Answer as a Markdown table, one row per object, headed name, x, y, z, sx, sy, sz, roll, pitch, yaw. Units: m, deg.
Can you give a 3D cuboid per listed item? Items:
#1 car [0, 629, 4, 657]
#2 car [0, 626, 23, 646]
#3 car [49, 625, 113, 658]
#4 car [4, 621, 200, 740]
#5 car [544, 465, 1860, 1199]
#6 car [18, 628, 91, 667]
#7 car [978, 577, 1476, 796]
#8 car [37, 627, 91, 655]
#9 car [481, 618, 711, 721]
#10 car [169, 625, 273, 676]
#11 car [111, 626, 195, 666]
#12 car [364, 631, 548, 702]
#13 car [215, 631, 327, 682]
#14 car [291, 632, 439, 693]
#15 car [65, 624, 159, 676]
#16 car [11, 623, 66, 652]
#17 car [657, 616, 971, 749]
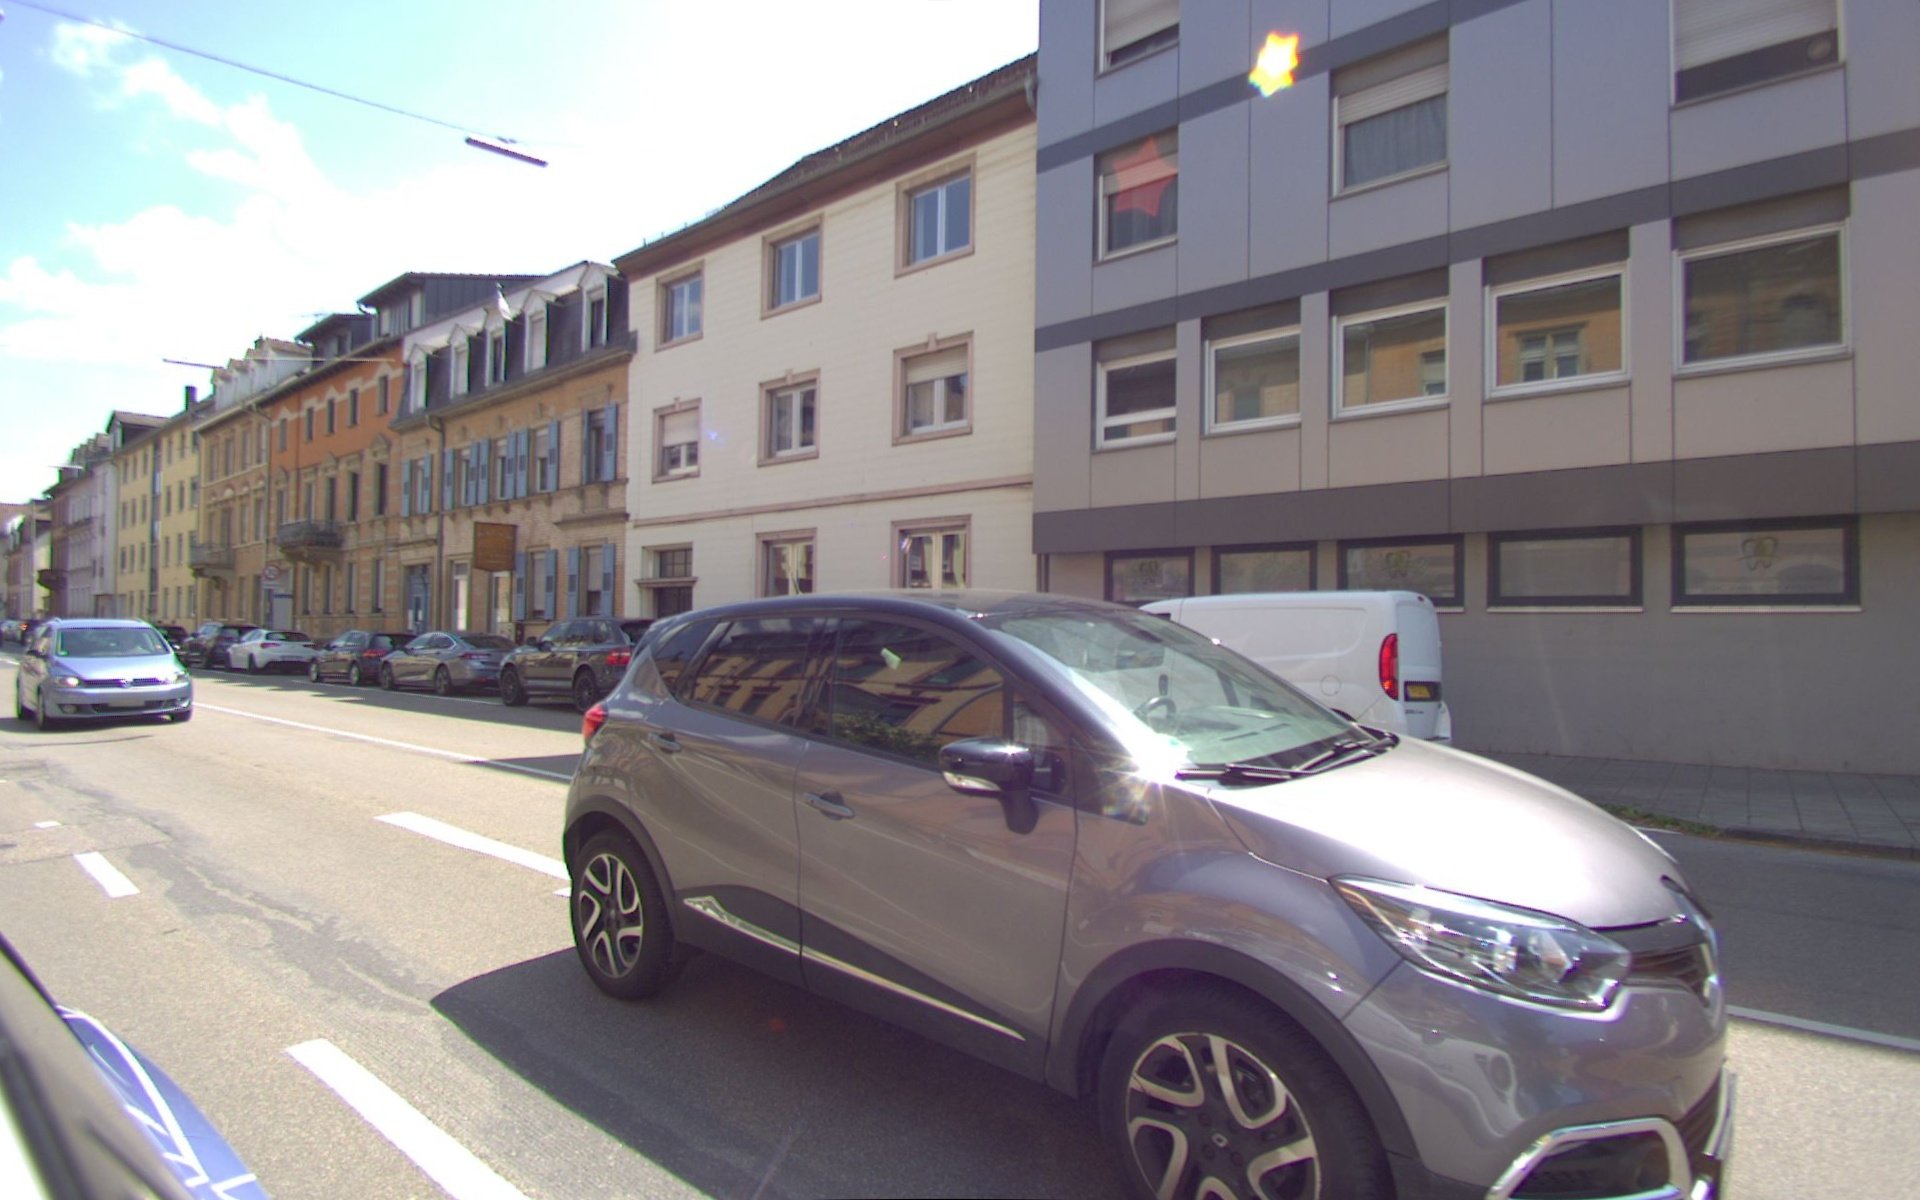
| name | x | y | z | sx | sy | sz | roll | pitch | yaw |
| --- | --- | --- | --- | --- | --- | --- | --- | --- | --- |
| car | -54.494 | 2.357 | 56.036 | 4.242 | 1.506 | 1.742 | -1 | -3 | 40 |
| car | -73.099 | 2.681 | 77.154 | 4.099 | 1.421 | 1.728 | -1 | -6 | 38 |
| car | -46.756 | 2.190 | 53.808 | 4.311 | 1.563 | 1.845 | -1 | -6 | 41 |
| car | -13.186 | 1.124 | 15.480 | 3.998 | 1.580 | 1.736 | -1 | -2 | 41 |
| car | 0.361 | 0.678 | 3.438 | 3.999 | 1.644 | 1.735 | -2 | -2 | 42 |
| car | -36.346 | 1.880 | 40.608 | 4.132 | 1.489 | 1.683 | -2 | -3 | 42 |
| car | 2.654 | 0.801 | 10.772 | 4.784 | 1.839 | 1.894 | -1 | -3 | 40 |
| car | -50.546 | 2.303 | 57.066 | 3.914 | 1.421 | 1.726 | -1 | -6 | 42 |
| car | -6.779 | 1.201 | 18.571 | 4.816 | 1.653 | 1.865 | -1 | -4 | 42 |
| car | -26.263 | 1.783 | 35.915 | 4.496 | 1.640 | 1.846 | -1 | -6 | 40 |
| car | -34.852 | 1.978 | 43.659 | 4.496 | 1.563 | 1.846 | -1 | -6 | 40 |
| car | -11.647 | 1.501 | 23.251 | 4.831 | 1.417 | 1.847 | -1 | -6 | 39 |
| car | -22.275 | 1.806 | 32.677 | 4.328 | 1.437 | 1.845 | -1 | -6 | 41 |
| car | -15.911 | 1.642 | 27.003 | 4.324 | 1.417 | 1.847 | -1 | -6 | 38 |
| car | -27.560 | 1.592 | 32.856 | 4.310 | 1.587 | 1.683 | -2 | -3 | 42 |
| car | -55.621 | 2.269 | 61.167 | 1.721 | 1.600 | 3.963 | 6 | -5 | -33 |
| car | -2.242 | 1.095 | 14.749 | 4.659 | 1.653 | 1.866 | -1 | -3 | 40 |
